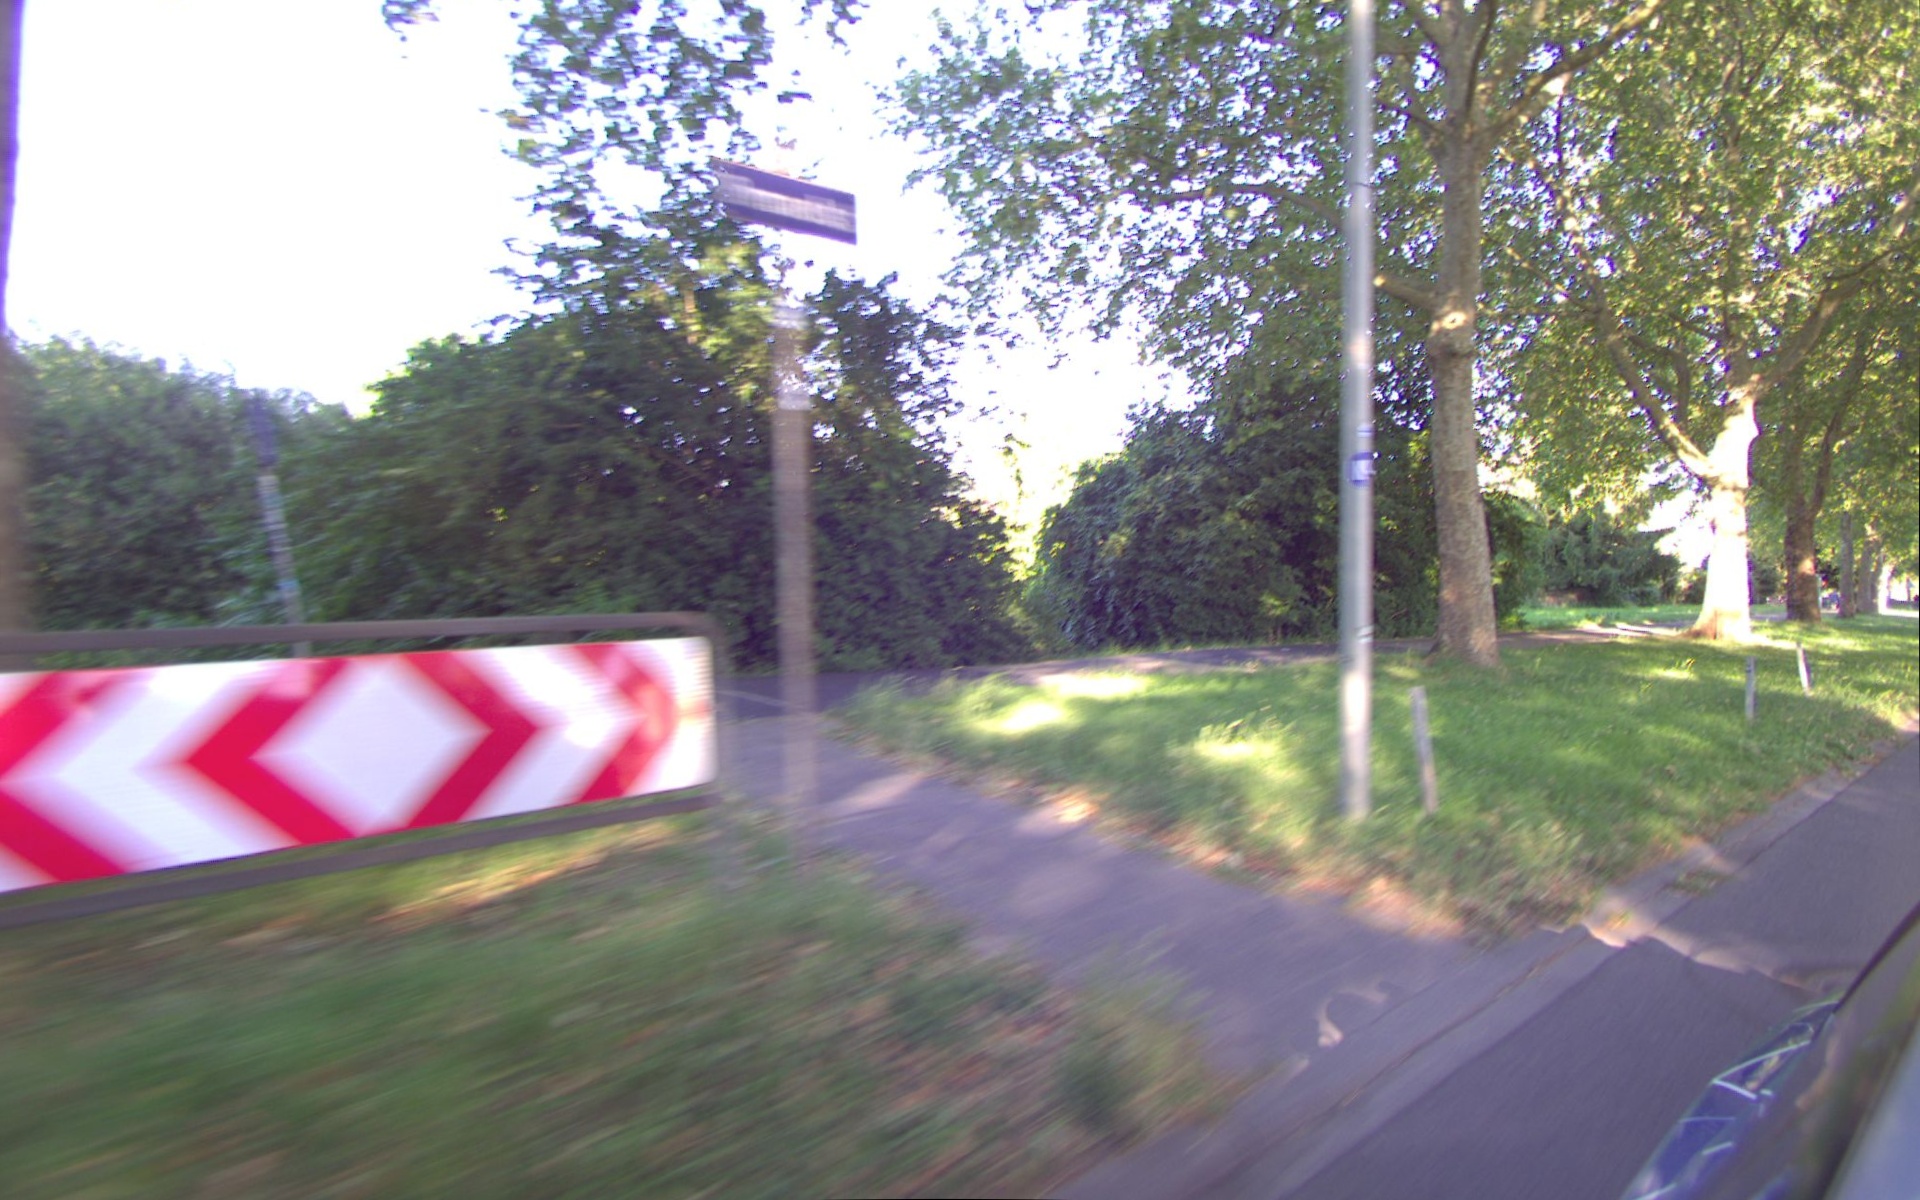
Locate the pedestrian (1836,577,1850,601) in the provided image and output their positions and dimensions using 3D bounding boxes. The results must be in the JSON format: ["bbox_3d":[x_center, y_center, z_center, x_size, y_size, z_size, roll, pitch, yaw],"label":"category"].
[{"bbox_3d":[70.483,-0.869,80.774,0.789,1.870,0.755,0,1,-43],"label":"pedestrian"}]

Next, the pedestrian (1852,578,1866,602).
[{"bbox_3d":[71.041,-0.810,79.968,0.774,1.869,0.762,0,1,-43],"label":"pedestrian"}]
